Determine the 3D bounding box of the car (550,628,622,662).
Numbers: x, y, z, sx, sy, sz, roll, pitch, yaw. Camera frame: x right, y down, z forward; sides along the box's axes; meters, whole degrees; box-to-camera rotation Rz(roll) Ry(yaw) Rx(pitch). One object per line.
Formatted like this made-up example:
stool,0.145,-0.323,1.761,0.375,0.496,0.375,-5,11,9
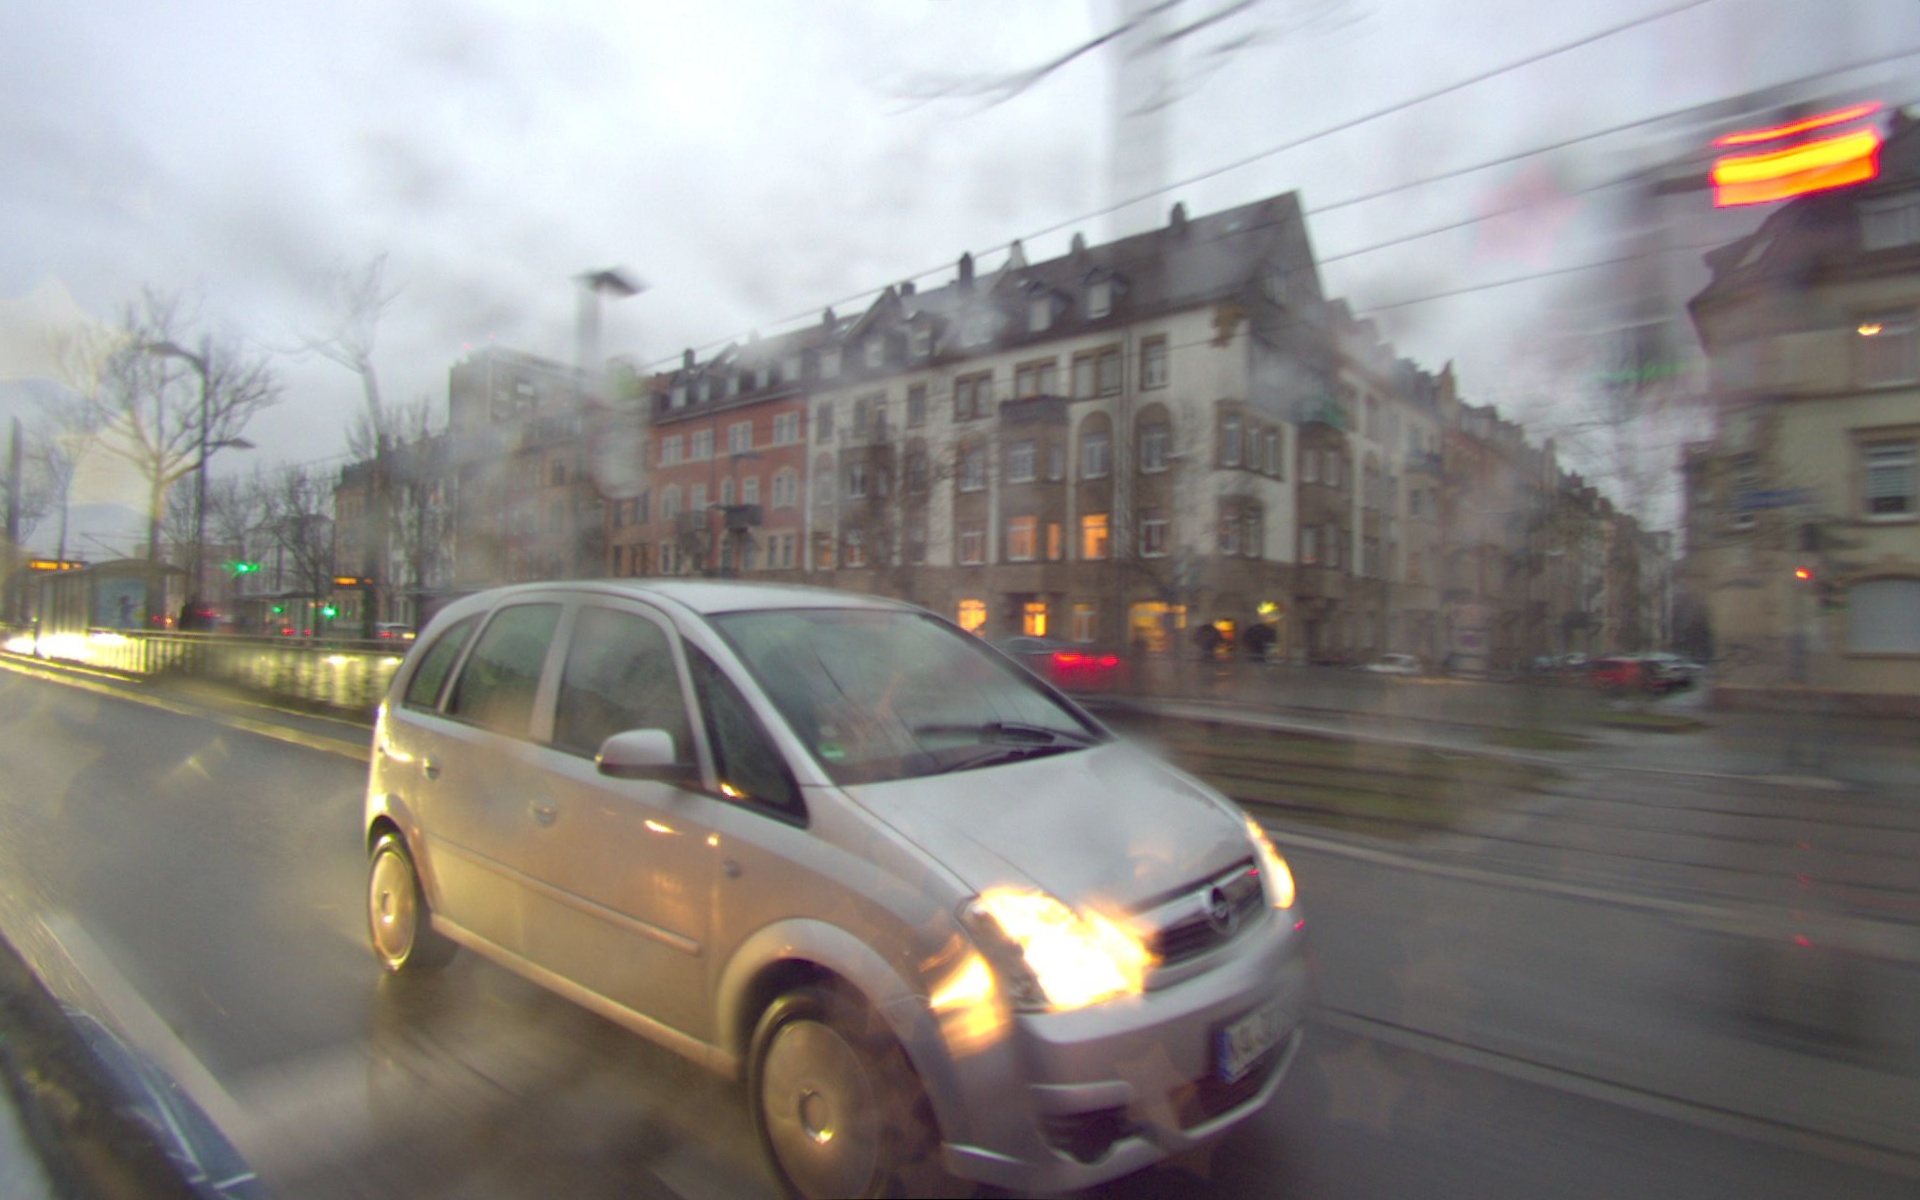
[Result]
car,-17.065,2.050,46.145,3.258,1.418,1.661,-1,-4,41

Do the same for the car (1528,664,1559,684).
car,38.991,4.950,67.623,1.330,1.298,2.860,-1,-4,40

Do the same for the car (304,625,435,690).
car,-15.093,1.425,25.813,3.998,1.497,1.646,-1,-4,41

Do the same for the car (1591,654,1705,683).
car,31.811,3.153,46.908,1.838,1.221,4.013,3,-3,-25

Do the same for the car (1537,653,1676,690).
car,24.181,2.653,38.002,1.838,1.221,4.013,3,-3,-25

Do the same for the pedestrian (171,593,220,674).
pedestrian,-19.624,0.864,25.982,0.864,2.029,0.932,4,-4,-38

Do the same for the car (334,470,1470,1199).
car,-0.574,0.623,3.699,4.051,1.612,1.790,-1,-2,41

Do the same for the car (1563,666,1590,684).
car,47.473,5.746,77.943,1.330,1.298,2.860,-1,-4,40

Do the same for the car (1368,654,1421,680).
car,18.934,2.918,44.052,1.330,1.083,2.860,-1,-4,40

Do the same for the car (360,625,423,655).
car,-31.948,2.233,56.849,3.744,1.546,1.662,0,-4,38

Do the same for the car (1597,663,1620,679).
car,58.476,6.392,91.249,1.330,1.298,2.860,-1,-4,40

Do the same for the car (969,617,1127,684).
car,2.372,1.323,27.764,3.998,1.650,1.845,-1,0,41

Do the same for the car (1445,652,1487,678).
car,26.250,3.371,52.479,1.330,1.298,2.860,-1,-4,40

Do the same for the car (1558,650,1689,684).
car,26.466,2.653,40.519,1.838,1.221,4.013,3,-3,-25
